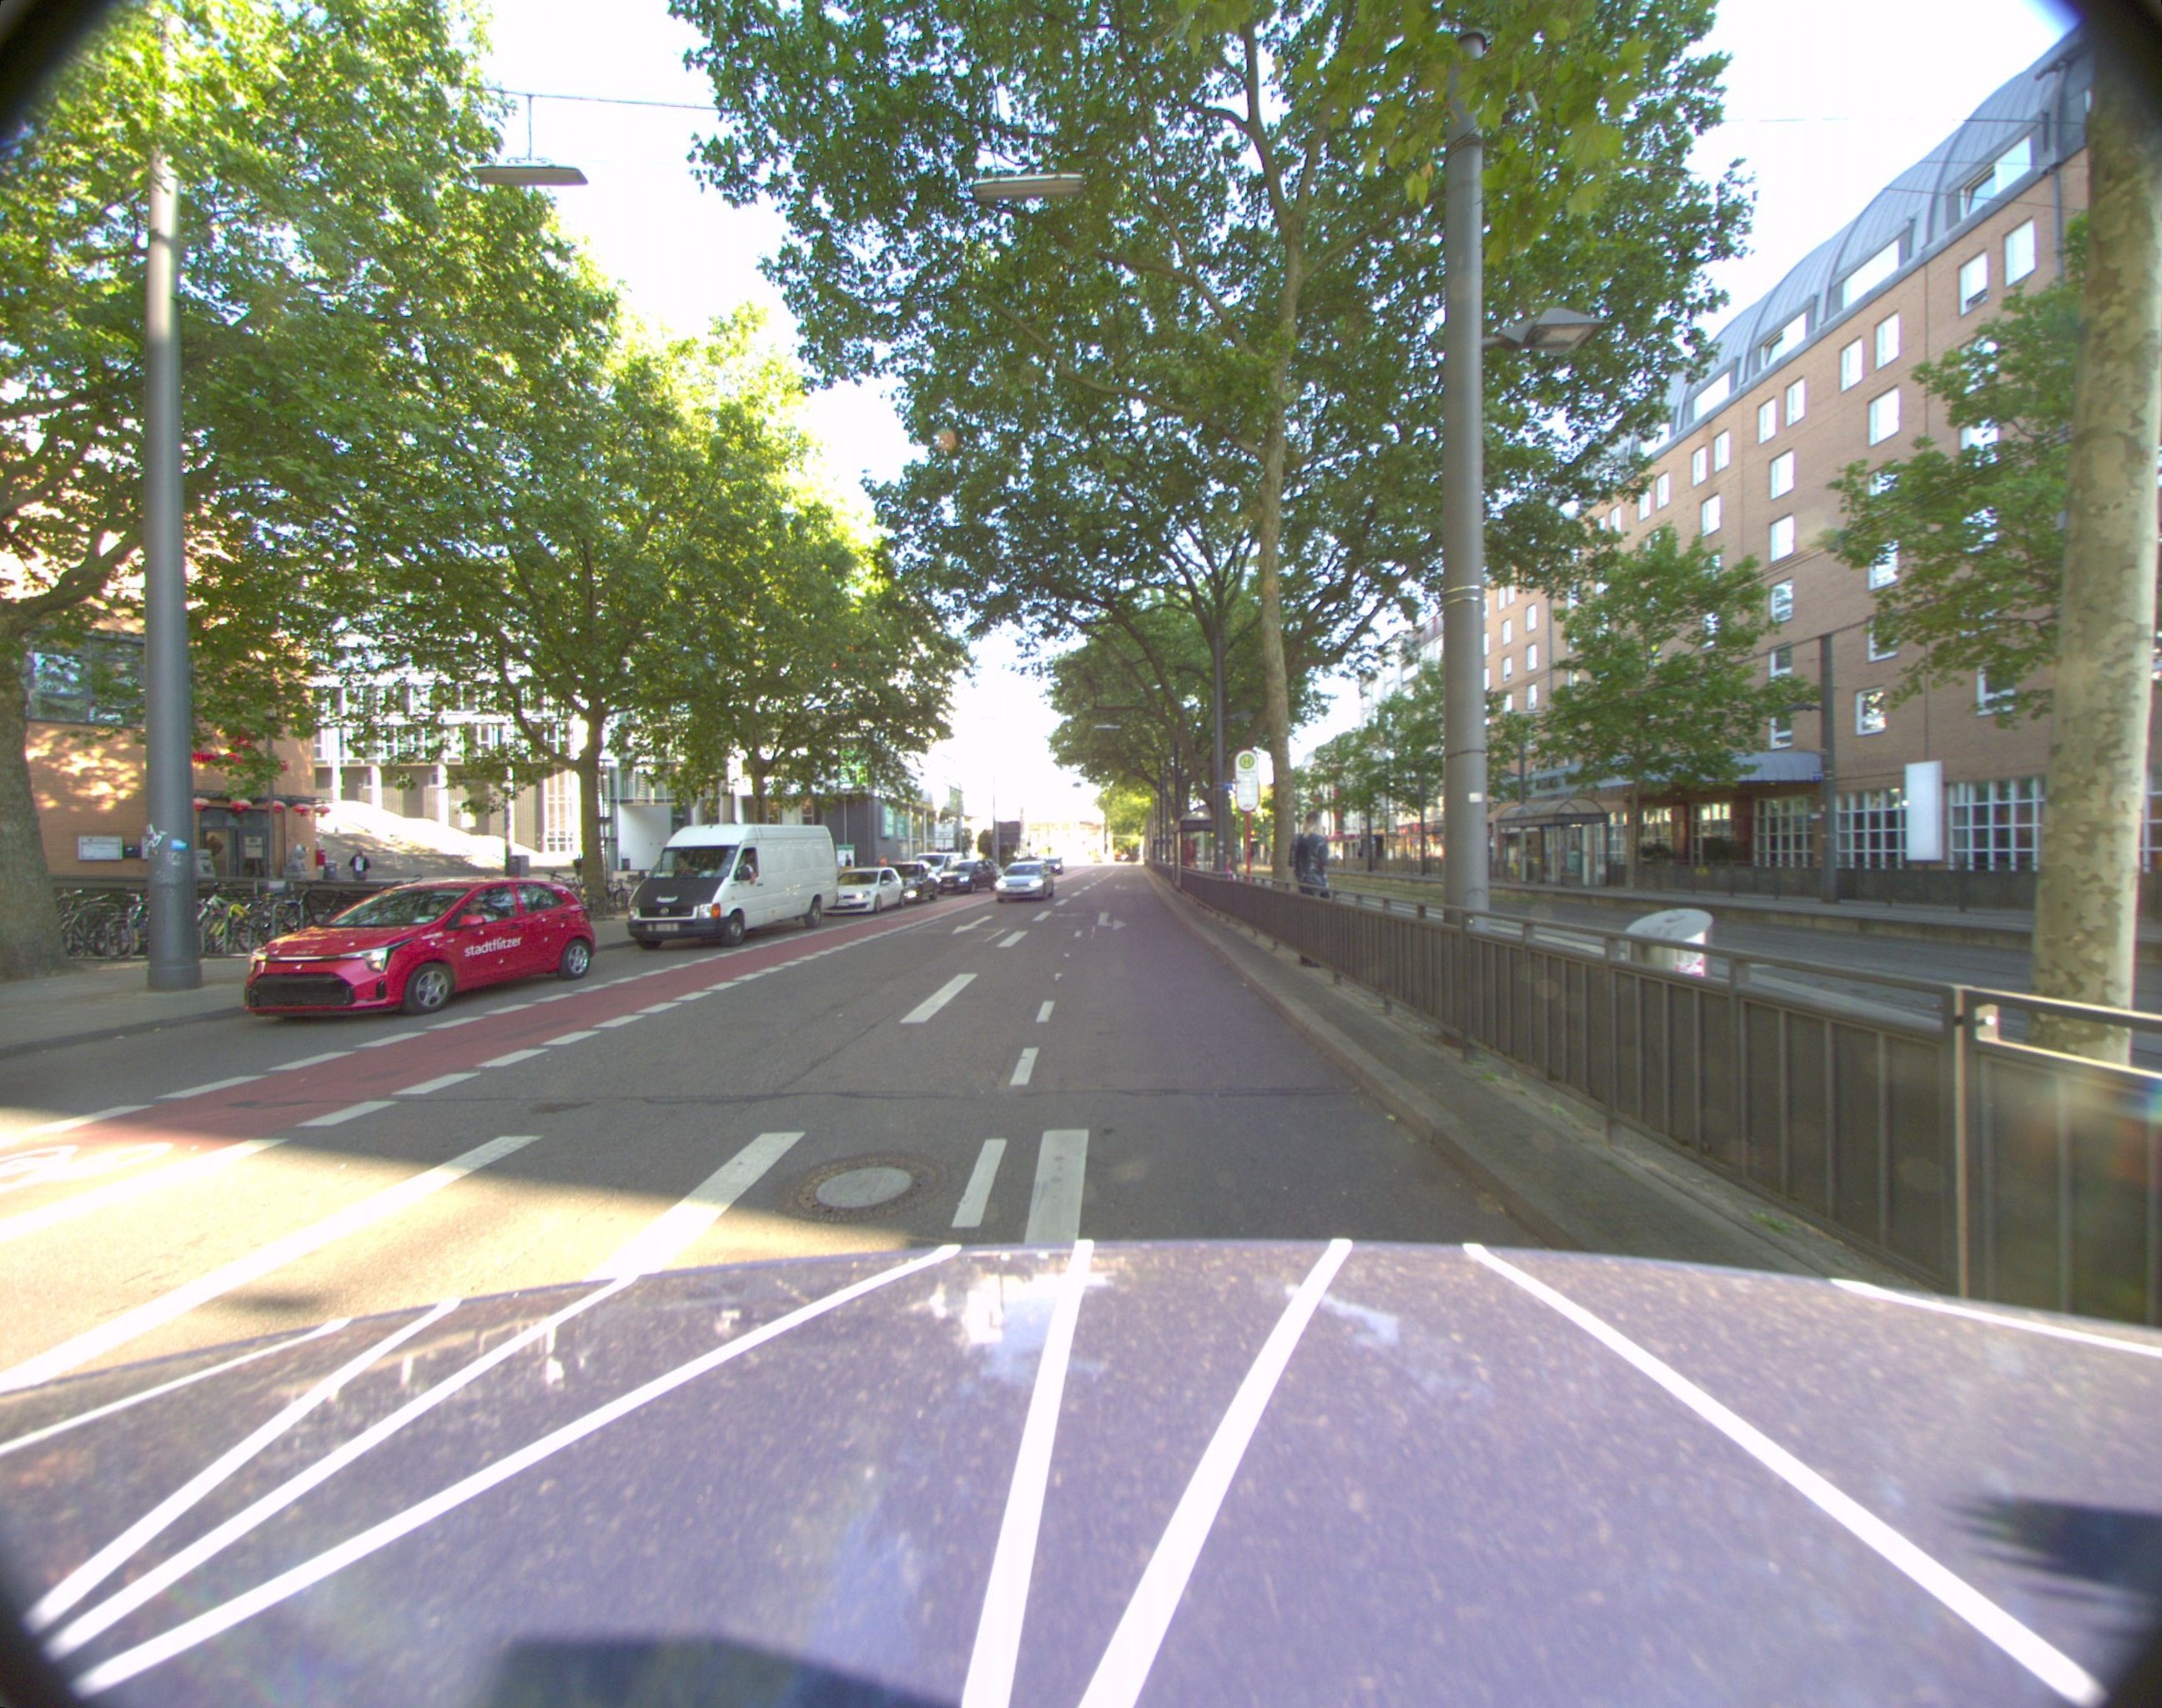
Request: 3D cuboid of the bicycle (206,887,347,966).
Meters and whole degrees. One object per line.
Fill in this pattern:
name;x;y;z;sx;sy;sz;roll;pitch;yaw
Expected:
bicycle;-13.823;1.203;13.136;0.448;1.187;1.850;0;0;1

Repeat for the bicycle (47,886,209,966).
bicycle;-16.389;1.197;13.140;0.435;1.187;1.850;0;0;1

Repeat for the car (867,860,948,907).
car;-6.700;1.083;29.771;1.818;1.610;4.229;-1;0;5

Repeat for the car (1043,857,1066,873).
car;-2.536;1.021;73.676;1.801;1.438;4.001;0;0;3

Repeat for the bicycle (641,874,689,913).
bicycle;-13.574;1.267;24.843;0.522;1.187;1.850;0;0;1

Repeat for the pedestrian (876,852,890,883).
pedestrian;-11.355;0.763;43.625;0.627;1.758;0.451;-1;1;2

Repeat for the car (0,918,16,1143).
car;-7.992;1.174;2.931;1.743;1.476;4.251;-1;0;0

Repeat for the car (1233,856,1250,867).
car;27.102;1.249;128.381;1.998;1.849;4.000;-1;0;1

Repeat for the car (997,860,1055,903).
car;-2.059;1.010;29.293;1.733;1.432;4.000;-2;0;2

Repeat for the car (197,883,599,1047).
car;-7.936;1.177;9.363;1.606;1.449;3.651;-1;0;0

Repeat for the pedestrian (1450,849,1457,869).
pedestrian;27.857;0.352;56.757;0.438;1.497;0.659;0;1;23

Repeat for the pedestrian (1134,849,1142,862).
pedestrian;8.380;0.208;111.967;0.831;2.002;0.772;-1;1;-24

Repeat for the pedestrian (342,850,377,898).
pedestrian;-31.214;0.849;32.887;0.876;2.025;0.585;-1;1;-10

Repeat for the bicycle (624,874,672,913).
bicycle;-14.117;1.263;24.822;0.495;1.187;1.850;0;0;1

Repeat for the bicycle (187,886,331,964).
bicycle;-14.328;1.199;13.326;0.484;1.187;1.850;0;0;1

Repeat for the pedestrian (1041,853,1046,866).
pedestrian;-4.774;0.668;97.361;0.611;1.644;0.583;-1;1;1

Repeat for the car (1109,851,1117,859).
car;8.688;0.334;204.978;1.998;2.002;4.001;-1;0;4

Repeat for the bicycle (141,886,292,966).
bicycle;-14.845;1.198;13.127;0.447;1.187;1.850;0;0;1

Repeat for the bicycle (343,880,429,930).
bicycle;-17.873;1.285;19.594;0.517;1.187;1.790;0;0;1

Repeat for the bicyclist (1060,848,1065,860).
bicyclist;-2.604;0.023;109.578;0.673;1.707;0.715;-1;1;1

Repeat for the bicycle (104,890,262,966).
bicycle;-15.428;1.235;13.135;0.485;1.118;1.850;0;0;1

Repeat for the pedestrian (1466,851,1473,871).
pedestrian;28.753;0.528;56.266;0.438;1.511;0.659;0;1;23

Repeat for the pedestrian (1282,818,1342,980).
pedestrian;2.794;0.514;9.172;0.605;1.873;0.624;0;3;24

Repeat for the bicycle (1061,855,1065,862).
bicycle;-2.602;0.640;109.655;0.580;0.879;1.671;-1;0;1

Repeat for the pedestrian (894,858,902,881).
pedestrian;-10.727;0.910;44.665;0.301;1.367;0.502;-1;1;4

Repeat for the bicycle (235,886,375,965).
bicycle;-13.320;1.193;13.130;0.482;1.187;1.850;0;0;1

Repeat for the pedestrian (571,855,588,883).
pedestrian;-27.752;0.834;42.044;0.719;1.549;0.639;-1;1;-35

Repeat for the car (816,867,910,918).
car;-7.029;1.186;24.882;1.682;1.420;4.001;-1;0;3

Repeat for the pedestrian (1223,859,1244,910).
pedestrian;3.930;0.777;19.625;0.500;1.308;0.419;0;1;8

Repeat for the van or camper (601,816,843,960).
van or camper;-7.540;0.606;17.069;1.998;2.563;6.575;-2;0;3

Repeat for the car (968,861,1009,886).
car;-5.653;1.172;46.764;1.801;1.369;4.001;0;0;3

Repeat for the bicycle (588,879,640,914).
bicycle;-15.222;1.364;24.796;0.516;1.027;1.850;0;0;1

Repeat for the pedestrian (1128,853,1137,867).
pedestrian;7.459;0.823;110.170;0.859;2.002;0.801;-3;1;-25

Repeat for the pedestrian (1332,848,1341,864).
pedestrian;31.628;0.288;94.065;0.806;2.002;0.763;-1;1;1

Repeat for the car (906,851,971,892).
car;-7.484;0.861;40.454;1.965;1.983;4.960;-1;0;7

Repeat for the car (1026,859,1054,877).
car;-3.336;1.141;62.272;1.801;1.369;4.001;0;0;3

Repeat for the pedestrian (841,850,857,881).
pedestrian;-12.940;0.635;42.342;0.715;1.758;0.526;-1;1;2

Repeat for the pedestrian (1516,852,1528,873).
pedestrian;30.191;0.555;52.002;0.519;1.427;0.516;0;1;4

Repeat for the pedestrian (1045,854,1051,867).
pedestrian;-4.124;0.816;95.339;0.648;1.644;0.643;-1;1;1

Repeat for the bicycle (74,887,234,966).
bicycle;-15.926;1.202;13.137;0.458;1.187;1.850;0;0;1

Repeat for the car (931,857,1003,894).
car;-5.467;1.013;37.156;1.964;1.610;4.335;-1;0;14

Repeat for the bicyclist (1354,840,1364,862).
bicyclist;23.963;-0.229;65.470;0.572;1.893;0.813;0;1;6

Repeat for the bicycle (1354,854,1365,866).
bicycle;24.035;0.543;65.584;0.451;0.998;1.753;-1;0;6

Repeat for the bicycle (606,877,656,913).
bicycle;-14.661;1.315;24.820;0.522;1.088;1.797;0;0;1
